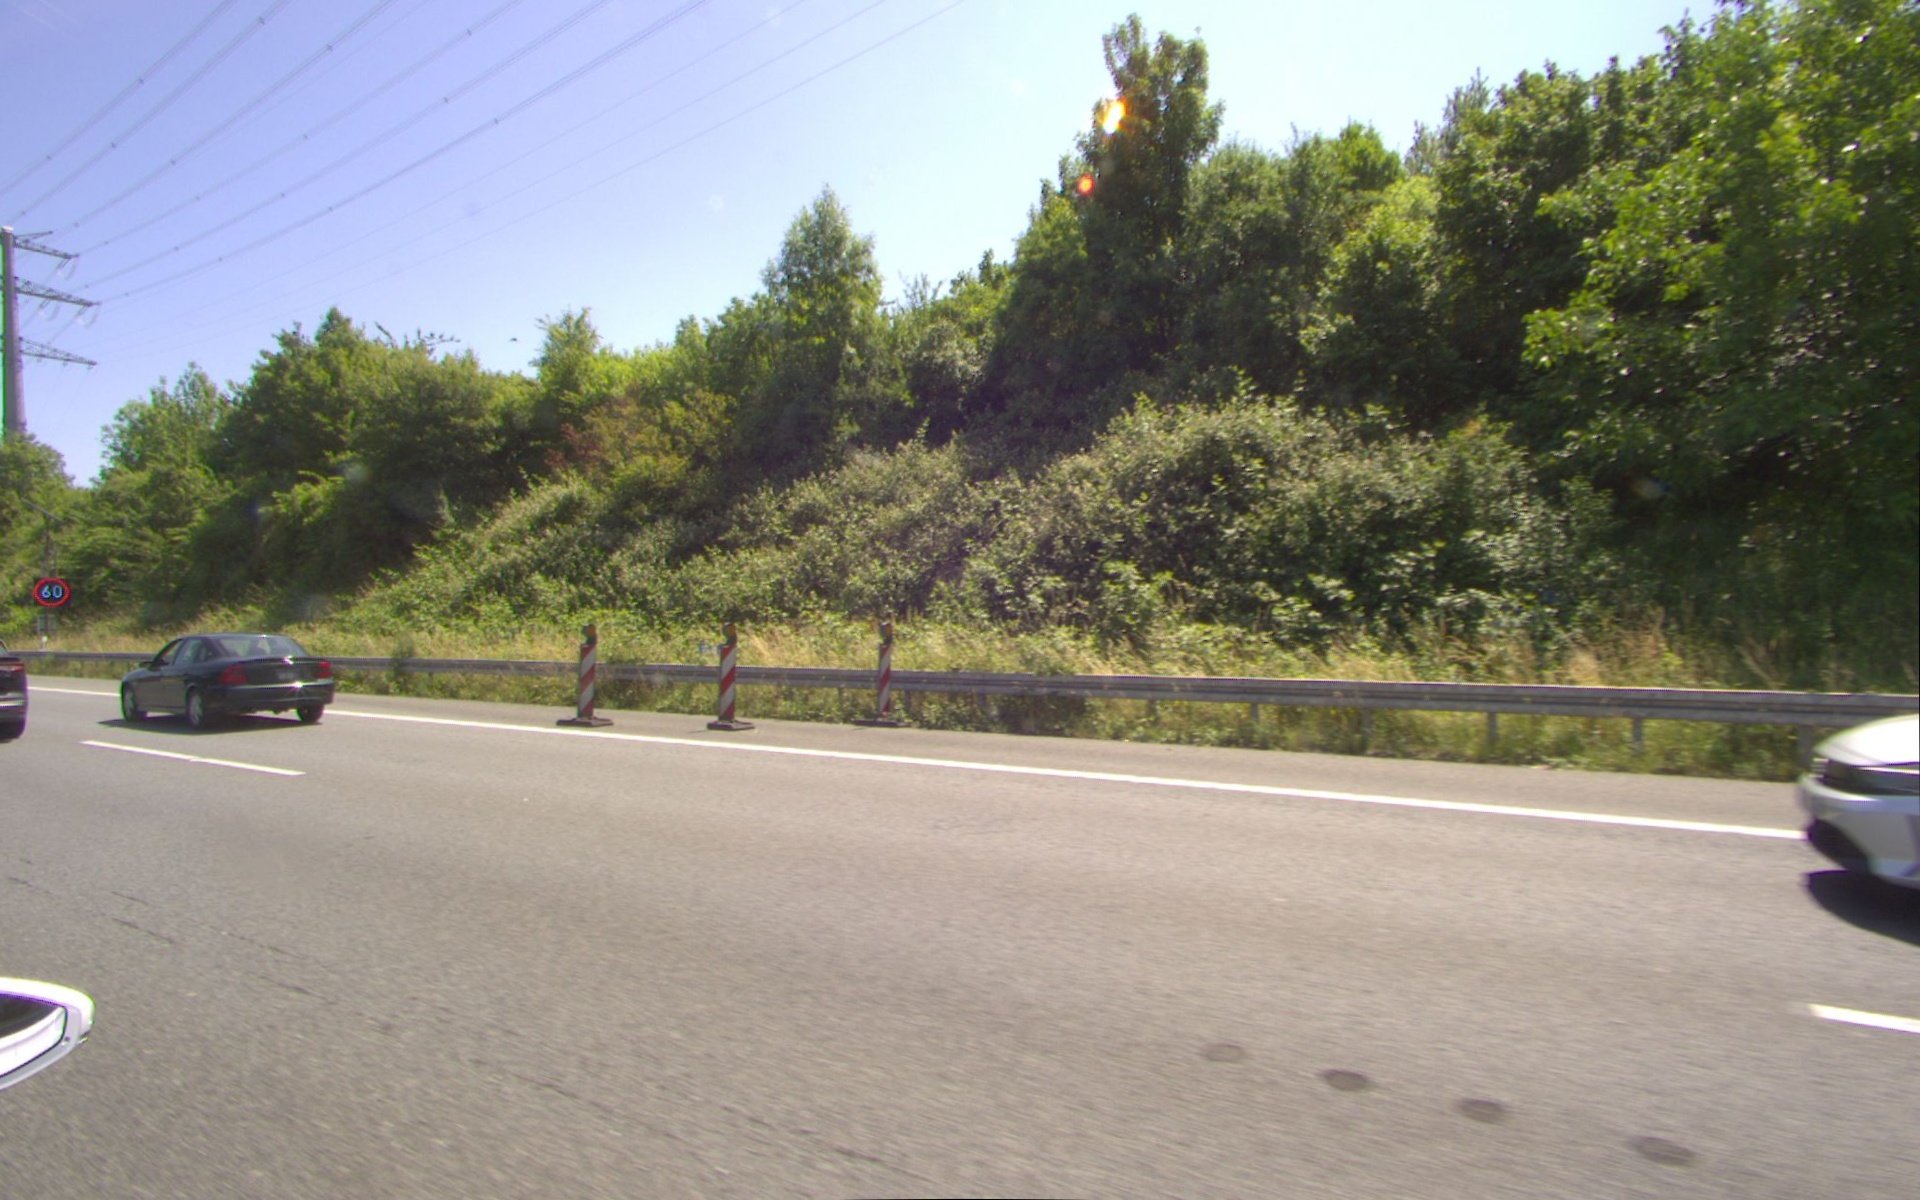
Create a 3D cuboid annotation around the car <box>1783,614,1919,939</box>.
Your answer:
[{"bbox_3d":[6.307,0.806,4.388,3.957,1.489,1.738,-1,-1,33],"label":"car"}]

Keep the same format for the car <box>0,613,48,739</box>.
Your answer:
[{"bbox_3d":[-14.530,1.006,13.785,4.367,1.635,1.825,-1,-1,32],"label":"car"}]

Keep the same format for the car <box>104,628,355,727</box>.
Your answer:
[{"bbox_3d":[-11.670,1.150,15.939,4.239,1.395,1.732,-1,-2,31],"label":"car"}]
